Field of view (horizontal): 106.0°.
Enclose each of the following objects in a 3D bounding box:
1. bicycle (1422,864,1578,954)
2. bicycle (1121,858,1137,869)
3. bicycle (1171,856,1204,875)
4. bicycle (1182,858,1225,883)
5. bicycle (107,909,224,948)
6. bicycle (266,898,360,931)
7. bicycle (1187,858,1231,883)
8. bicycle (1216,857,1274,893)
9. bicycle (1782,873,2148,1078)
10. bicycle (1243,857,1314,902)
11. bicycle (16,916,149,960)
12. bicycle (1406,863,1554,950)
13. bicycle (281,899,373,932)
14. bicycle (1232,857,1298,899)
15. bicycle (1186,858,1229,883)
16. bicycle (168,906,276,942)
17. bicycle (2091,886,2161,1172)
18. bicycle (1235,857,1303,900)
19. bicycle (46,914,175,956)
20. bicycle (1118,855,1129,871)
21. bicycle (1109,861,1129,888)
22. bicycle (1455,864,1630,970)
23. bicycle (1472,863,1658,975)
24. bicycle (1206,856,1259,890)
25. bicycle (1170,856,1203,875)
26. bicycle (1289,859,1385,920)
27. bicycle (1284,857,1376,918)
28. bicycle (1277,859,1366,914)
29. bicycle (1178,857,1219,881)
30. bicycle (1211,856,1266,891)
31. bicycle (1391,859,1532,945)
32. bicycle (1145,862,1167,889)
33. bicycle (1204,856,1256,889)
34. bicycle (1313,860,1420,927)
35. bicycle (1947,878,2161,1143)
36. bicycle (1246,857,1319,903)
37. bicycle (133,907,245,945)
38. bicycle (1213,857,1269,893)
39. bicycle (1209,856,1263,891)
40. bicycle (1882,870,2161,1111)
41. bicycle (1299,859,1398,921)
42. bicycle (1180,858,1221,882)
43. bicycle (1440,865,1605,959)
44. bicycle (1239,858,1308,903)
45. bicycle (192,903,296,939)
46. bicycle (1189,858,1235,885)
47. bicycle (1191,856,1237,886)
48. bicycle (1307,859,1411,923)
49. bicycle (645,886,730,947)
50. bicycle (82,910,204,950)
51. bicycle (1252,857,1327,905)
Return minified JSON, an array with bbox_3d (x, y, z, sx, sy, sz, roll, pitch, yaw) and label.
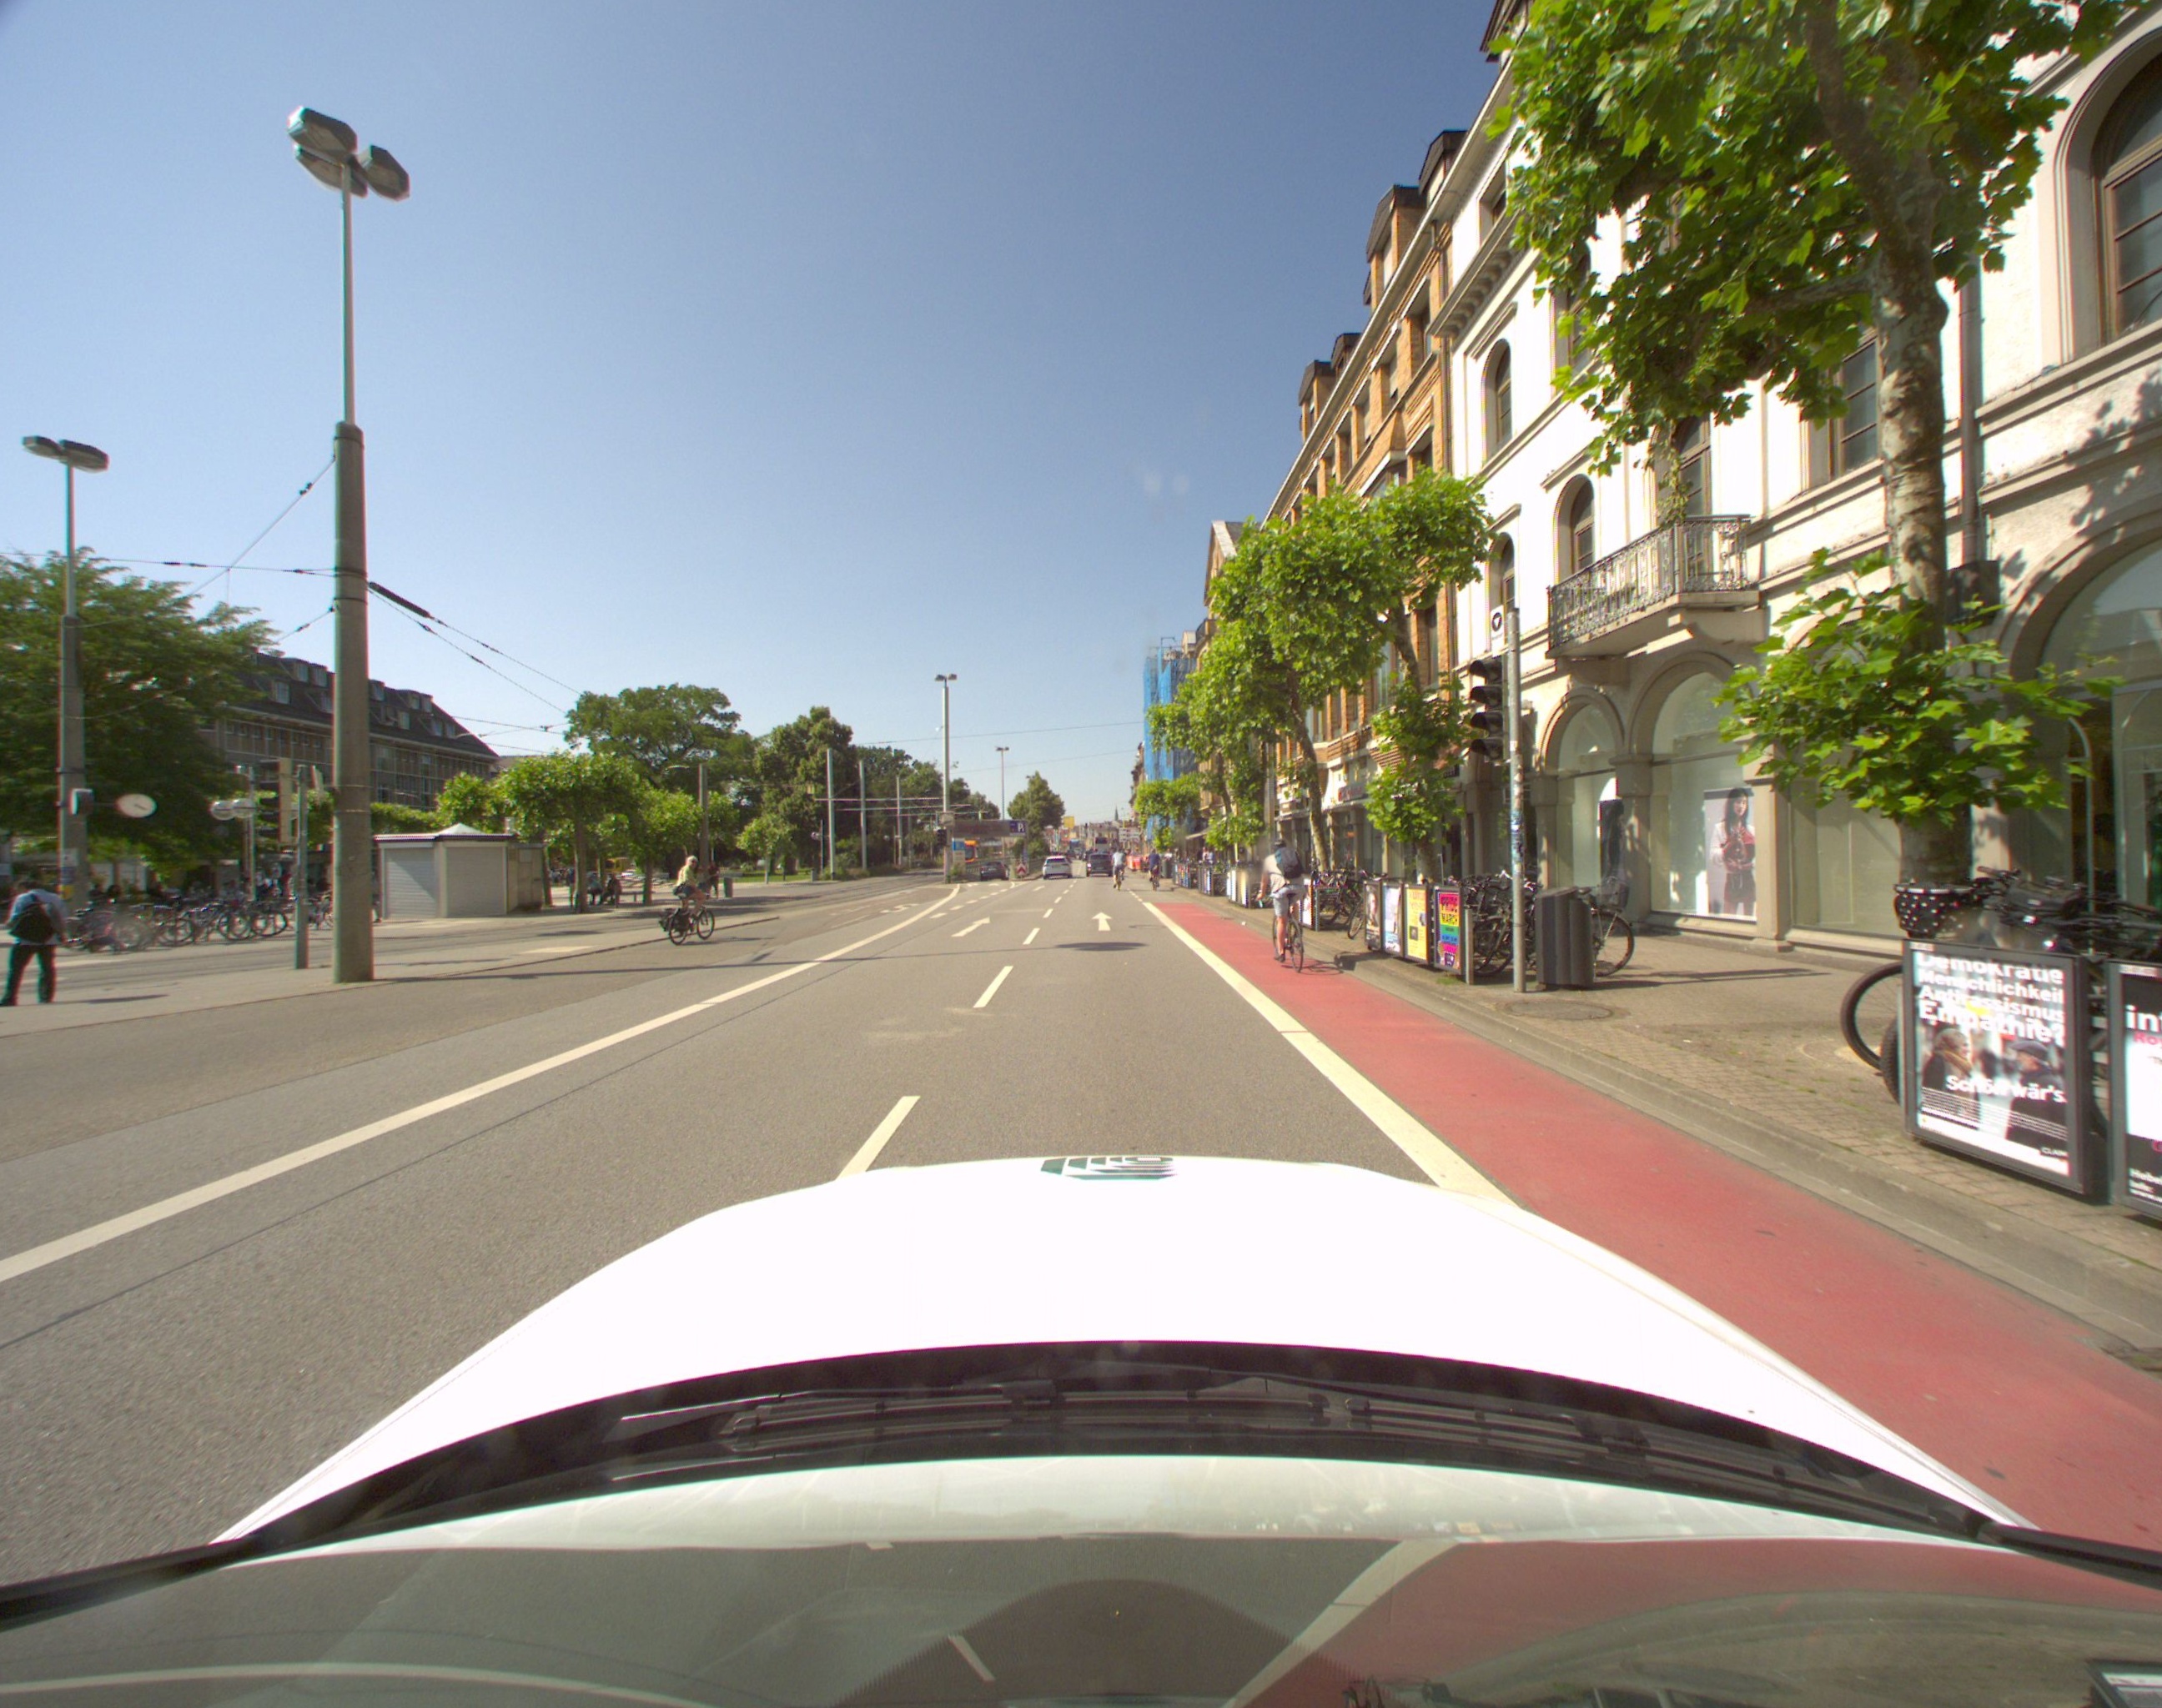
[{"bbox_3d":[5.344,0.689,10.429,1.748,1.087,0.482,-1,0,-2],"label":"bicycle"},{"bbox_3d":[5.301,1.065,90.379,1.765,1.178,0.609,0,0,0],"label":"bicycle"},{"bbox_3d":[5.978,0.624,45.631,1.748,1.018,0.482,-1,0,-2],"label":"bicycle"},{"bbox_3d":[5.289,0.715,35.153,1.748,1.018,0.482,-1,0,-2],"label":"bicycle"},{"bbox_3d":[-21.855,1.777,19.476,1.866,0.856,0.544,1,0,-13],"label":"bicycle"},{"bbox_3d":[-21.469,1.687,22.803,1.866,0.869,0.579,1,0,-13],"label":"bicycle"},{"bbox_3d":[5.303,0.682,33.760,1.748,1.018,0.482,-1,0,-2],"label":"bicycle"},{"bbox_3d":[5.326,0.679,26.500,1.748,1.147,0.482,-1,-1,-2],"label":"bicycle"},{"bbox_3d":[5.393,0.714,5.013,1.769,1.147,0.482,-1,0,-2],"label":"bicycle"},{"bbox_3d":[5.217,0.670,21.507,1.748,1.147,0.482,-1,0,-2],"label":"bicycle"},{"bbox_3d":[-21.614,1.808,17.662,1.866,0.856,0.544,1,0,-13],"label":"bicycle"},{"bbox_3d":[5.337,0.688,10.928,1.748,1.105,0.482,-1,0,-2],"label":"bicycle"},{"bbox_3d":[-21.619,1.754,23.376,1.866,0.869,0.579,1,0,-13],"label":"bicycle"},{"bbox_3d":[5.194,0.662,23.016,1.748,1.147,0.482,-1,0,-2],"label":"bicycle"},{"bbox_3d":[5.348,0.698,34.489,1.712,0.985,0.482,-1,0,-2],"label":"bicycle"},{"bbox_3d":[-21.763,1.759,20.661,1.866,0.856,0.544,1,0,-13],"label":"bicycle"},{"bbox_3d":[5.242,0.701,3.301,1.748,1.147,0.482,-1,0,-2],"label":"bicycle"},{"bbox_3d":[5.182,0.664,22.508,1.748,1.147,0.482,-1,0,-2],"label":"bicycle"},{"bbox_3d":[-21.759,1.811,18.286,1.866,0.872,0.581,1,0,-13],"label":"bicycle"},{"bbox_3d":[3.154,0.665,60.773,0.731,1.093,1.897,1,0,0],"label":"bicycle"},{"bbox_3d":[1.612,0.841,34.548,0.732,1.093,1.897,1,0,-1],"label":"bicycle"},{"bbox_3d":[5.303,0.705,9.391,1.748,1.147,0.482,-1,0,-2],"label":"bicycle"},{"bbox_3d":[5.260,0.691,8.891,1.748,1.147,0.482,-1,0,-2],"label":"bicycle"},{"bbox_3d":[5.304,0.650,28.508,1.748,1.147,0.482,-1,0,-2],"label":"bicycle"},{"bbox_3d":[5.826,0.628,45.105,1.748,1.018,0.482,-1,0,-2],"label":"bicycle"},{"bbox_3d":[5.092,0.697,16.256,1.748,1.147,0.482,-1,0,-2],"label":"bicycle"},{"bbox_3d":[5.137,0.682,16.830,1.748,1.187,0.482,-1,0,-2],"label":"bicycle"},{"bbox_3d":[5.113,0.675,17.385,1.748,1.123,0.482,-1,0,-2],"label":"bicycle"},{"bbox_3d":[5.315,0.678,36.861,1.748,1.018,0.482,-1,0,-2],"label":"bicycle"},{"bbox_3d":[5.320,0.661,27.513,1.748,1.147,0.482,-1,0,-2],"label":"bicycle"},{"bbox_3d":[5.326,0.660,11.436,1.748,1.147,0.482,-1,0,-2],"label":"bicycle"},{"bbox_3d":[3.142,0.878,34.312,0.732,1.093,1.910,1,0,-1],"label":"bicycle"},{"bbox_3d":[5.301,0.658,29.004,1.748,1.147,0.482,-1,0,-2],"label":"bicycle"},{"bbox_3d":[5.121,0.695,14.663,1.748,1.147,0.482,-1,0,-2],"label":"bicycle"},{"bbox_3d":[5.267,0.700,3.909,1.748,1.147,0.482,-1,0,-2],"label":"bicycle"},{"bbox_3d":[5.195,0.667,21.012,1.748,1.147,0.482,-1,0,-2],"label":"bicycle"},{"bbox_3d":[-21.909,1.765,20.032,1.866,0.856,0.544,1,0,-13],"label":"bicycle"},{"bbox_3d":[5.316,0.689,27.015,1.748,1.147,0.482,-1,0,-2],"label":"bicycle"},{"bbox_3d":[5.315,0.663,27.998,1.748,1.147,0.482,-1,0,-2],"label":"bicycle"},{"bbox_3d":[5.495,0.704,4.450,1.794,1.194,0.482,-1,0,-2],"label":"bicycle"},{"bbox_3d":[5.153,0.679,15.712,1.748,1.147,0.482,-1,0,-2],"label":"bicycle"},{"bbox_3d":[5.340,0.704,36.303,1.748,1.018,0.482,-1,0,-2],"label":"bicycle"},{"bbox_3d":[5.357,0.690,9.923,1.748,1.068,0.482,-1,0,-2],"label":"bicycle"},{"bbox_3d":[5.199,0.705,22.006,1.748,1.147,0.482,-1,0,-2],"label":"bicycle"},{"bbox_3d":[-22.014,1.753,21.444,1.866,0.869,0.579,1,0,-13],"label":"bicycle"},{"bbox_3d":[5.307,0.708,33.005,1.748,1.018,0.482,-1,0,-2],"label":"bicycle"},{"bbox_3d":[5.287,0.655,32.410,1.748,1.147,0.482,-1,0,-2],"label":"bicycle"},{"bbox_3d":[5.170,0.679,15.193,1.748,1.147,0.527,-1,0,-2],"label":"bicycle"},{"bbox_3d":[-8.372,1.302,17.429,0.815,1.120,1.874,-4,0,1],"label":"bicycle"},{"bbox_3d":[-21.743,1.759,18.910,1.866,0.856,0.544,1,0,-13],"label":"bicycle"},{"bbox_3d":[5.214,0.668,20.436,1.748,1.147,0.499,-1,0,-2],"label":"bicycle"}]
